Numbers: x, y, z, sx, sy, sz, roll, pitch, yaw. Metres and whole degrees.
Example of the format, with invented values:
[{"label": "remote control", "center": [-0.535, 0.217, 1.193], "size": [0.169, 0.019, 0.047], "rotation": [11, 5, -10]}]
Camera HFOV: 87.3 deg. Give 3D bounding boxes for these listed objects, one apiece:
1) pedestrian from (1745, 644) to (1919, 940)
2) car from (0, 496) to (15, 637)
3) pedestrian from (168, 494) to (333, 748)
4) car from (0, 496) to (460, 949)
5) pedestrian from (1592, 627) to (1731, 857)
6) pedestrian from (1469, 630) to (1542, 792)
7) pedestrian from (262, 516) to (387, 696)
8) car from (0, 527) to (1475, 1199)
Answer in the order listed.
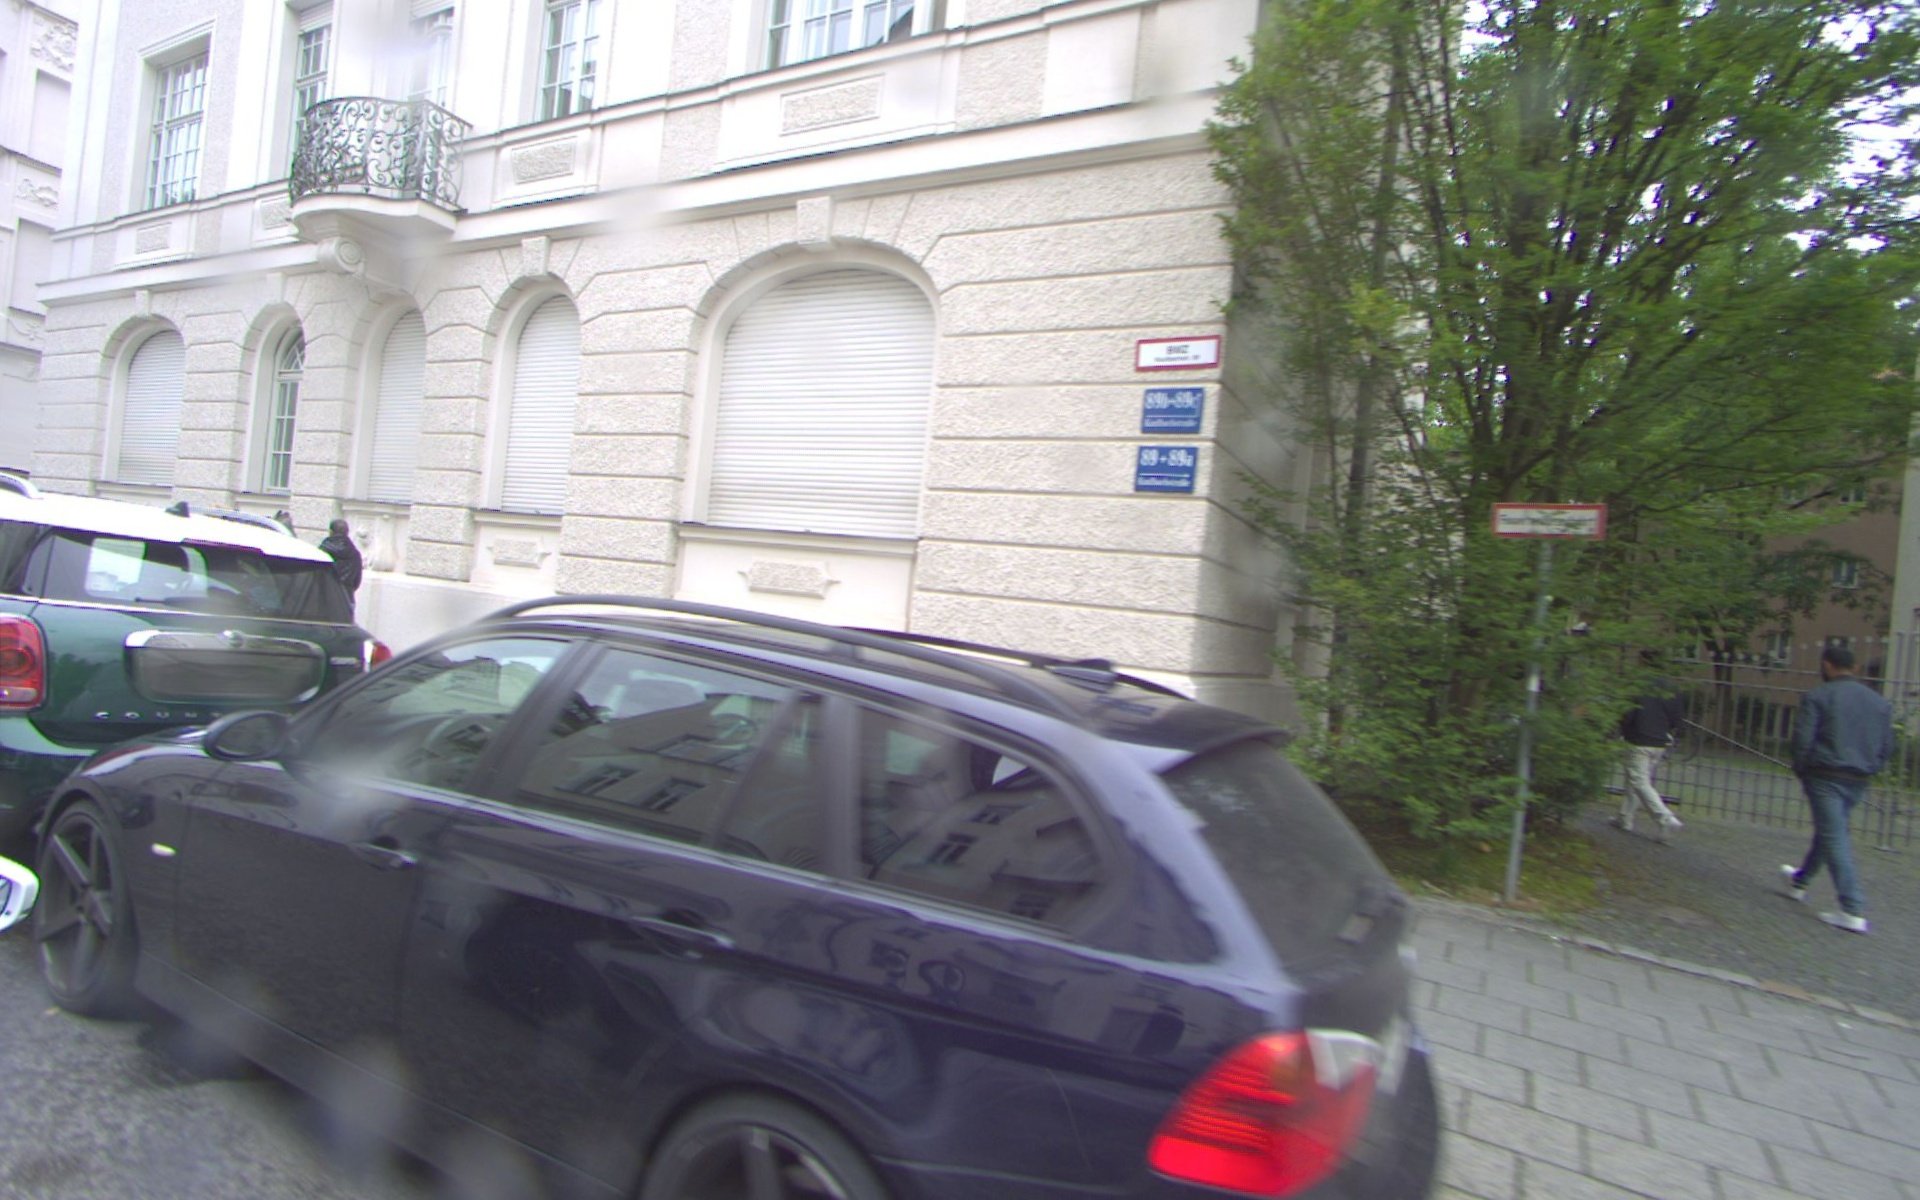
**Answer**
[{"label": "pedestrian", "center": [5.975, 1.247, 6.866], "size": [0.661, 1.790, 0.884], "rotation": [7, 0, 29]}, {"label": "car", "center": [-9.191, -0.206, 7.527], "size": [4.317, 1.656, 1.898], "rotation": [7, 0, 31]}, {"label": "pedestrian", "center": [-5.471, 0.142, 7.756], "size": [0.840, 1.800, 0.682], "rotation": [7, 3, 31]}, {"label": "car", "center": [-4.648, 0.291, 5.049], "size": [4.100, 1.543, 1.752], "rotation": [6, -1, 30]}, {"label": "pedestrian", "center": [6.185, 1.211, 8.928], "size": [0.667, 1.842, 0.860], "rotation": [10, 4, 29]}, {"label": "pedestrian", "center": [6.461, 1.296, 11.915], "size": [0.564, 1.816, 0.553], "rotation": [7, 1, 31]}, {"label": "pedestrian", "center": [-6.448, 0.060, 10.221], "size": [0.798, 1.701, 0.682], "rotation": [7, 3, 29]}, {"label": "car", "center": [-0.913, 0.783, 2.973], "size": [4.152, 1.469, 1.715], "rotation": [7, -1, 30]}]
